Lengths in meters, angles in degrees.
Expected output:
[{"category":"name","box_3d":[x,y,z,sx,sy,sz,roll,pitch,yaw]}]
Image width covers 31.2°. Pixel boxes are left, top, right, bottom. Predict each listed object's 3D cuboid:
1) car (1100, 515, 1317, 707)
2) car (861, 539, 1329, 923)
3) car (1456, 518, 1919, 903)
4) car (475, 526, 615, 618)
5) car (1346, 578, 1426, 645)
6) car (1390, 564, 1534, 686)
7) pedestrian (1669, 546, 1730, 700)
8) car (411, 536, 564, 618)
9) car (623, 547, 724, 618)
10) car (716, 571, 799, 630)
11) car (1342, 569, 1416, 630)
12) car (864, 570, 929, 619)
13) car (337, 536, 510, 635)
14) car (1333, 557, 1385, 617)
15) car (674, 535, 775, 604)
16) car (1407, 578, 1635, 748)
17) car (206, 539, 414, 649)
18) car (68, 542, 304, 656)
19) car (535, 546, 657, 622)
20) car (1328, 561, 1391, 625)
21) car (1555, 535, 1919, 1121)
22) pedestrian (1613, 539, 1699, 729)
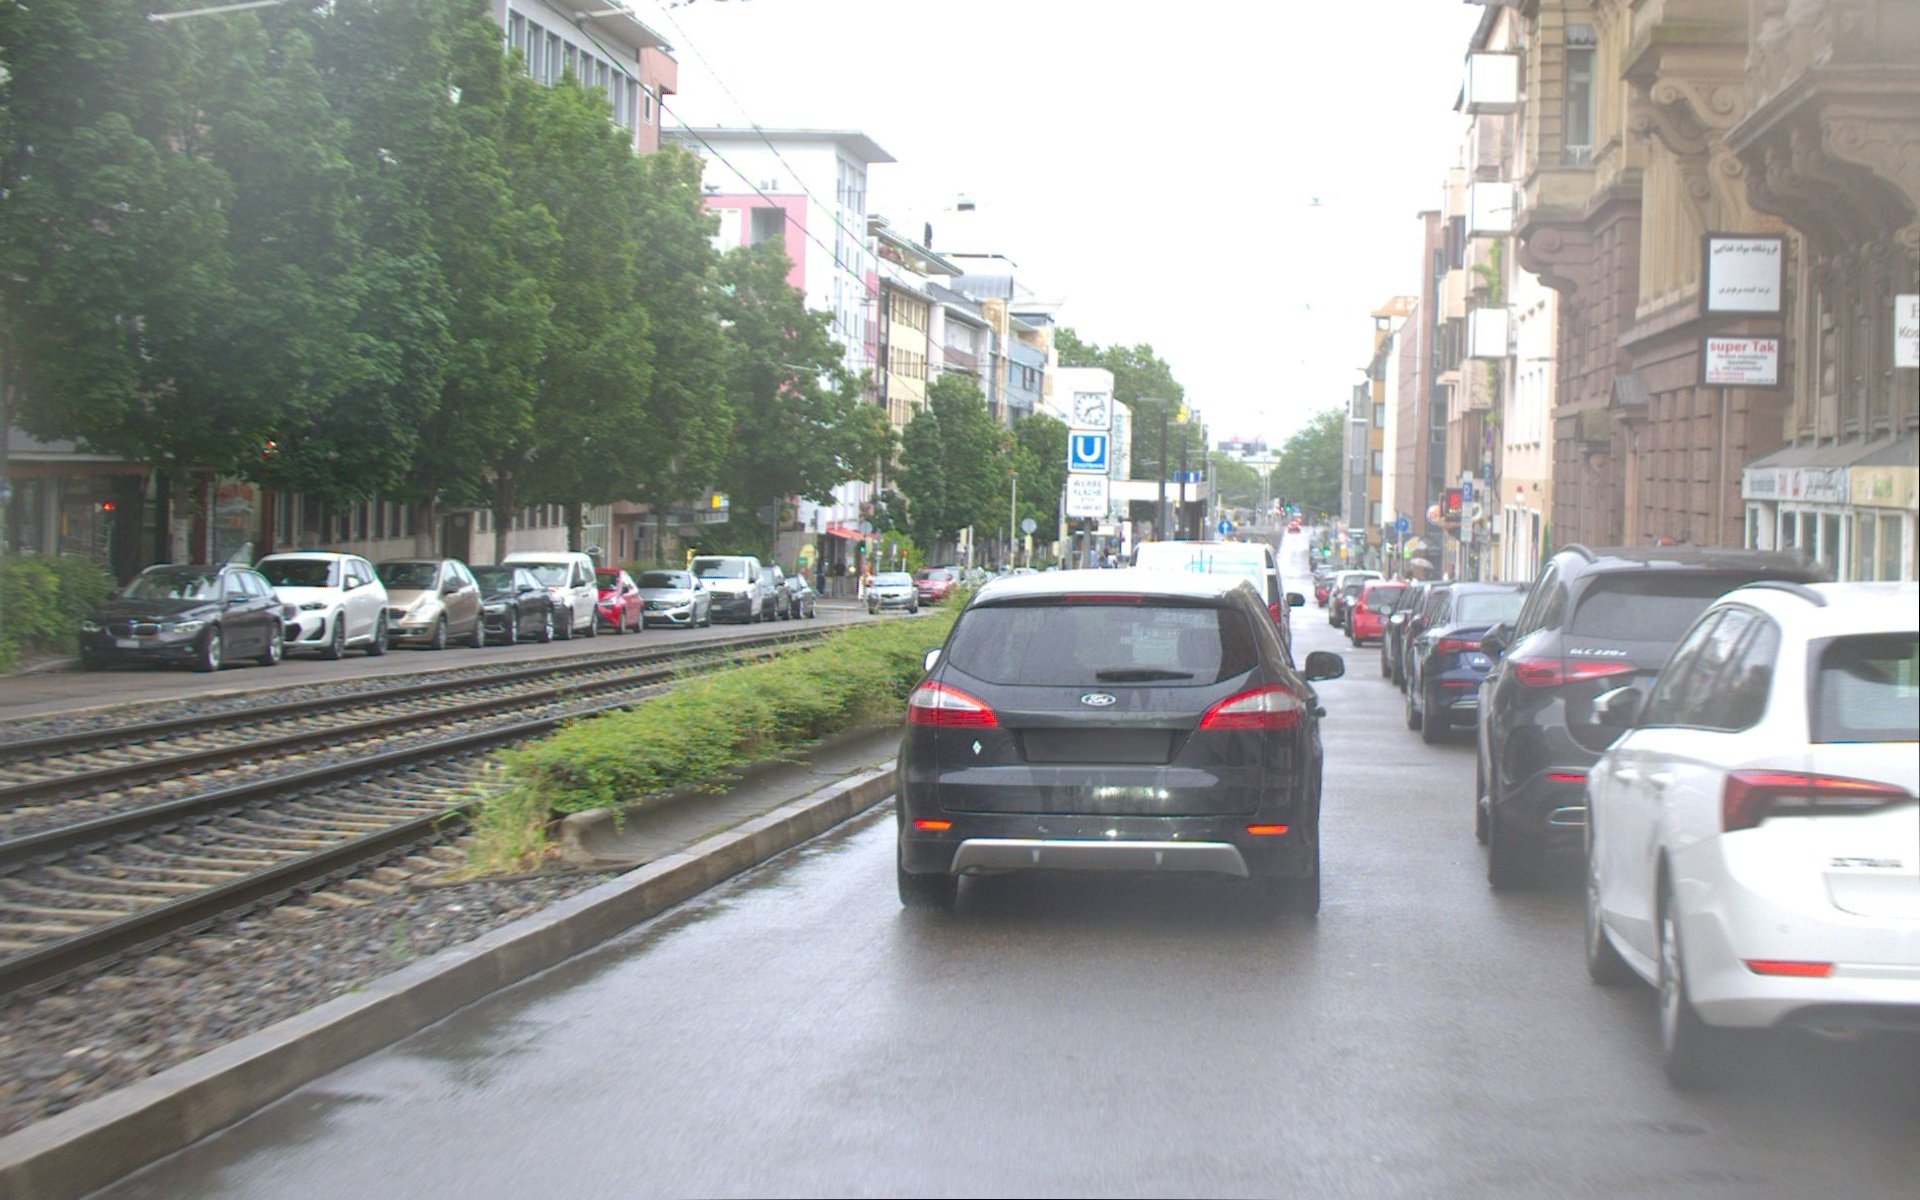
[{"category":"car","box_3d":[2.959,0.105,40.031,1.989,2.053,4.643,2,1,10]},{"category":"car","box_3d":[0.664,0.532,15.700,1.843,1.502,3.999,1,0,4]},{"category":"car","box_3d":[3.544,0.522,17.369,1.845,1.627,4.585,2,-1,6]},{"category":"car","box_3d":[-8.532,-0.557,70.989,1.856,1.695,4.430,2,-1,6]},{"category":"car","box_3d":[9.494,0.256,76.791,1.671,1.416,3.475,1,0,6]},{"category":"car","box_3d":[6.344,0.309,43.702,1.650,1.455,3.475,1,0,6]},{"category":"pedestrian","box_3d":[7.690,0.249,35.771,0.519,1.574,0.677,-1,-2,6]},{"category":"car","box_3d":[-8.887,-0.411,64.968,1.856,1.413,4.430,0,-1,6]},{"category":"car","box_3d":[-6.942,-0.406,83.618,1.668,1.553,4.045,2,-1,6]},{"category":"car","box_3d":[-5.852,0.039,99.771,1.695,1.568,4.045,2,-1,6]},{"category":"car","box_3d":[10.121,-0.011,83.205,1.671,1.416,3.475,1,0,6]},{"category":"car","box_3d":[-2.310,-0.199,126.525,1.856,1.631,4.045,2,-1,6]},{"category":"car","box_3d":[-9.324,-0.228,60.064,1.856,1.543,4.430,2,-1,6]},{"category":"car","box_3d":[13.358,-0.412,115.220,1.592,1.775,3.777,4,-1,6]},{"category":"car","box_3d":[-6.366,-0.807,93.392,1.856,1.631,4.934,2,-1,6]},{"category":"car","box_3d":[5.080,0.579,31.593,1.792,1.402,4.256,2,-1,6]},{"category":"car","box_3d":[-10.099,-0.059,53.788,1.856,1.543,4.719,2,-1,6]},{"category":"car","box_3d":[-10.614,0.023,47.495,1.694,1.373,4.719,2,-1,6]},{"category":"car","box_3d":[-8.124,-0.345,77.064,1.856,1.522,4.045,2,-1,6]},{"category":"car","box_3d":[12.687,-0.206,109.302,1.839,1.775,3.777,4,-1,6]},{"category":"car","box_3d":[2.939,0.615,10.802,1.802,1.451,4.585,1,-1,6]},{"category":"pedestrian","box_3d":[6.782,0.321,33.533,0.703,1.813,0.961,-1,1,6]}]
